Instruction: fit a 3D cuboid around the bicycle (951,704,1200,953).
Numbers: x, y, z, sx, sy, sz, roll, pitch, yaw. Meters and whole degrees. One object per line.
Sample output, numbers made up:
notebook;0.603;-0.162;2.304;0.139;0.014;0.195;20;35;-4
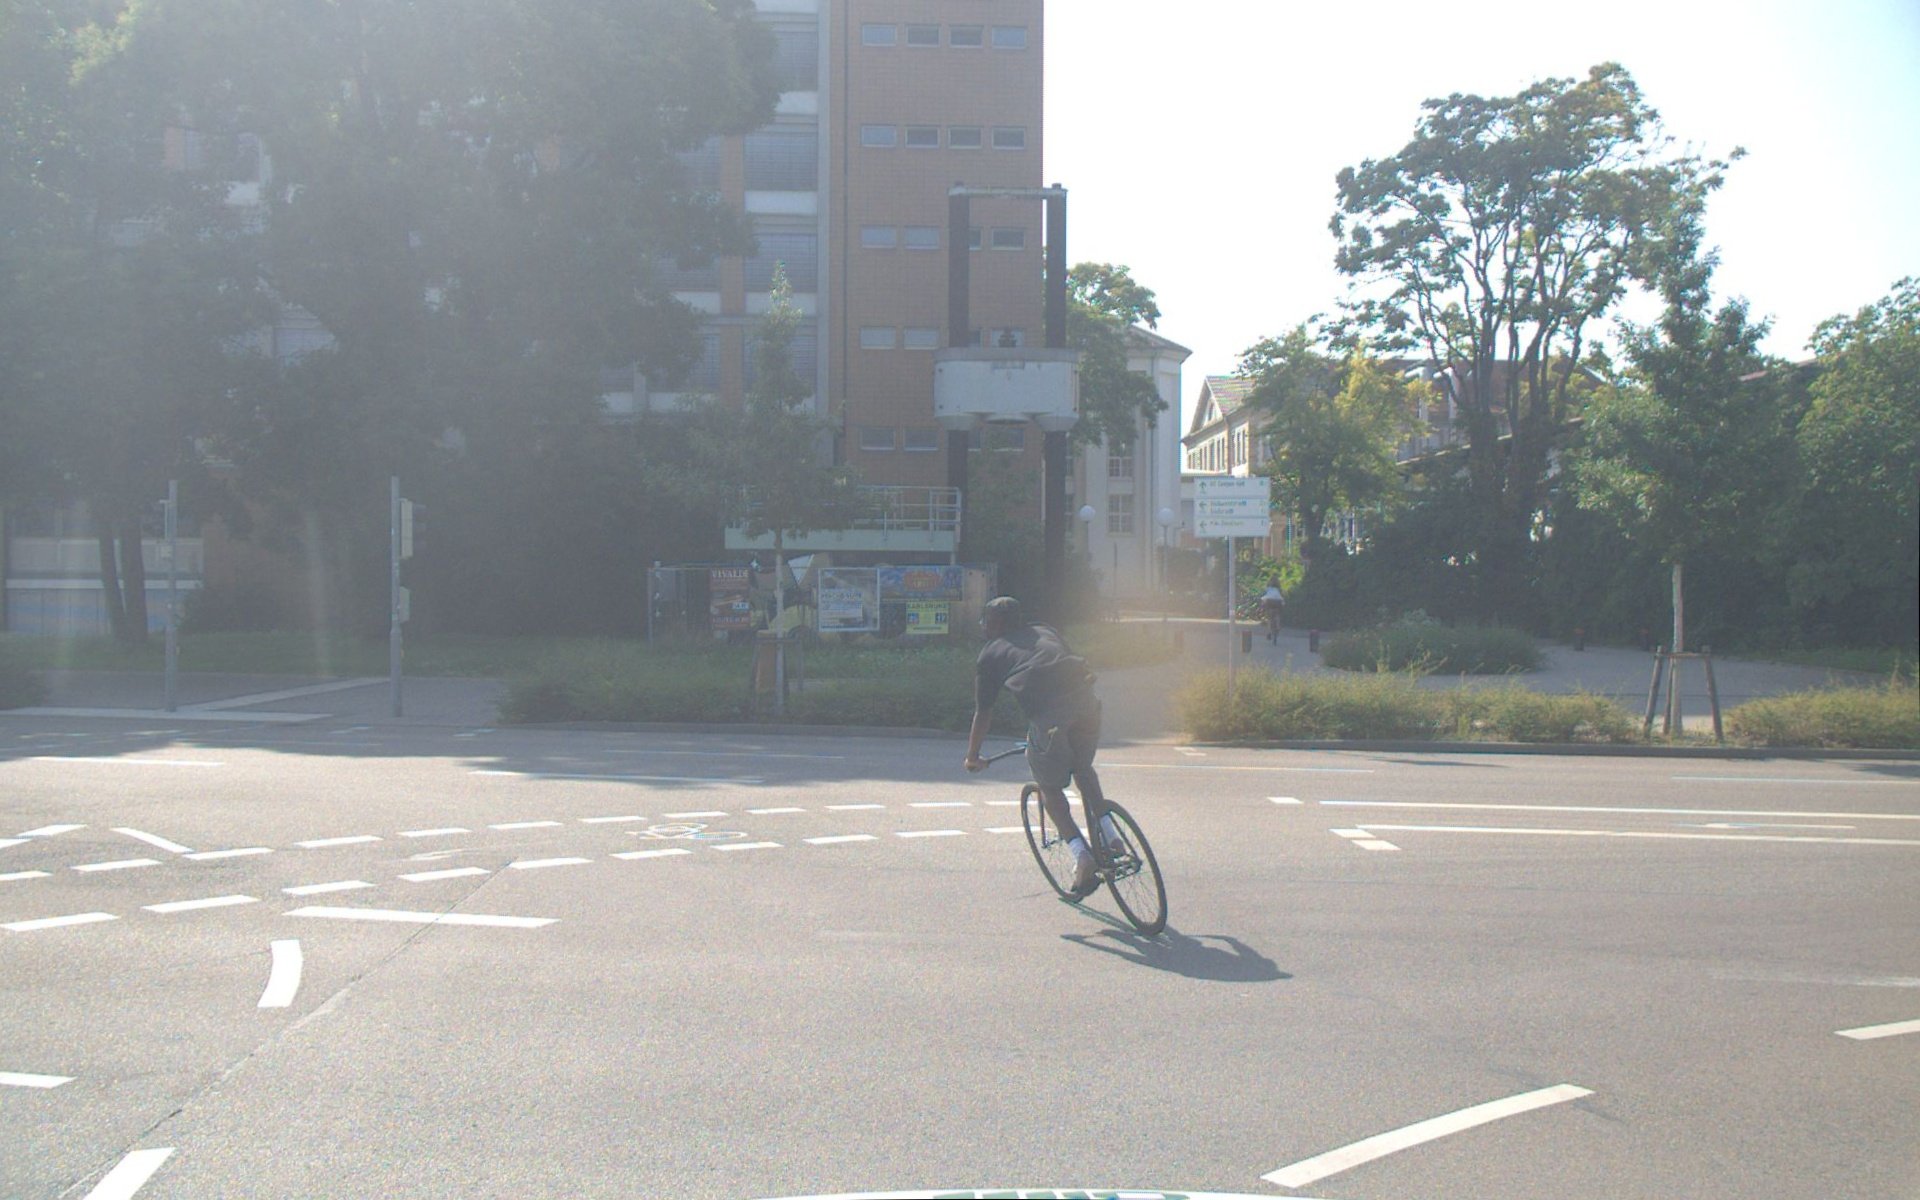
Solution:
bicycle;0.503;1.055;8.267;0.758;0.993;2.145;0;-2;-10

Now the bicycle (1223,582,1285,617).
bicycle;11.932;-0.035;67.212;2.376;1.341;0.720;2;0;3

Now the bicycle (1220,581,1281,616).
bicycle;11.981;-0.059;68.348;2.376;1.341;0.720;2;0;3

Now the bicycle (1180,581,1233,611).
bicycle;11.735;-0.195;78.718;2.376;1.304;0.720;2;0;3

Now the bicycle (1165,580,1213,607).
bicycle;11.828;-0.340;85.590;2.376;1.284;0.720;2;0;3

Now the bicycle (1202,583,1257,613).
bicycle;12.218;-0.113;74.957;2.376;1.261;0.720;2;0;3

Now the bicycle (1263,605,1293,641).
bicycle;8.146;0.576;42.380;0.659;0.895;1.402;0;1;7

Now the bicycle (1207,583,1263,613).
bicycle;12.327;-0.076;74.110;2.376;1.255;0.720;2;0;3

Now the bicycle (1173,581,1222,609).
bicycle;11.971;-0.261;83.449;2.376;1.304;0.720;2;0;3

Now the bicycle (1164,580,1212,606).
bicycle;11.931;-0.374;86.604;2.376;1.303;0.720;2;0;3

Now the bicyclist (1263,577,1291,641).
bicyclist;8.115;0.223;42.319;0.636;1.629;0.920;0;1;7

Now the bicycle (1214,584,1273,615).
bicycle;12.143;-0.024;70.887;2.376;1.245;0.720;2;0;3

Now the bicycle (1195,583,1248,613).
bicycle;12.249;-0.114;77.588;2.376;1.304;0.720;2;0;3

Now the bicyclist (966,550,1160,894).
bicyclist;0.488;0.582;8.283;0.758;1.606;0.988;0;-2;-10

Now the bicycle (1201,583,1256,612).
bicycle;12.334;-0.136;76.004;2.376;1.250;0.720;2;0;3
